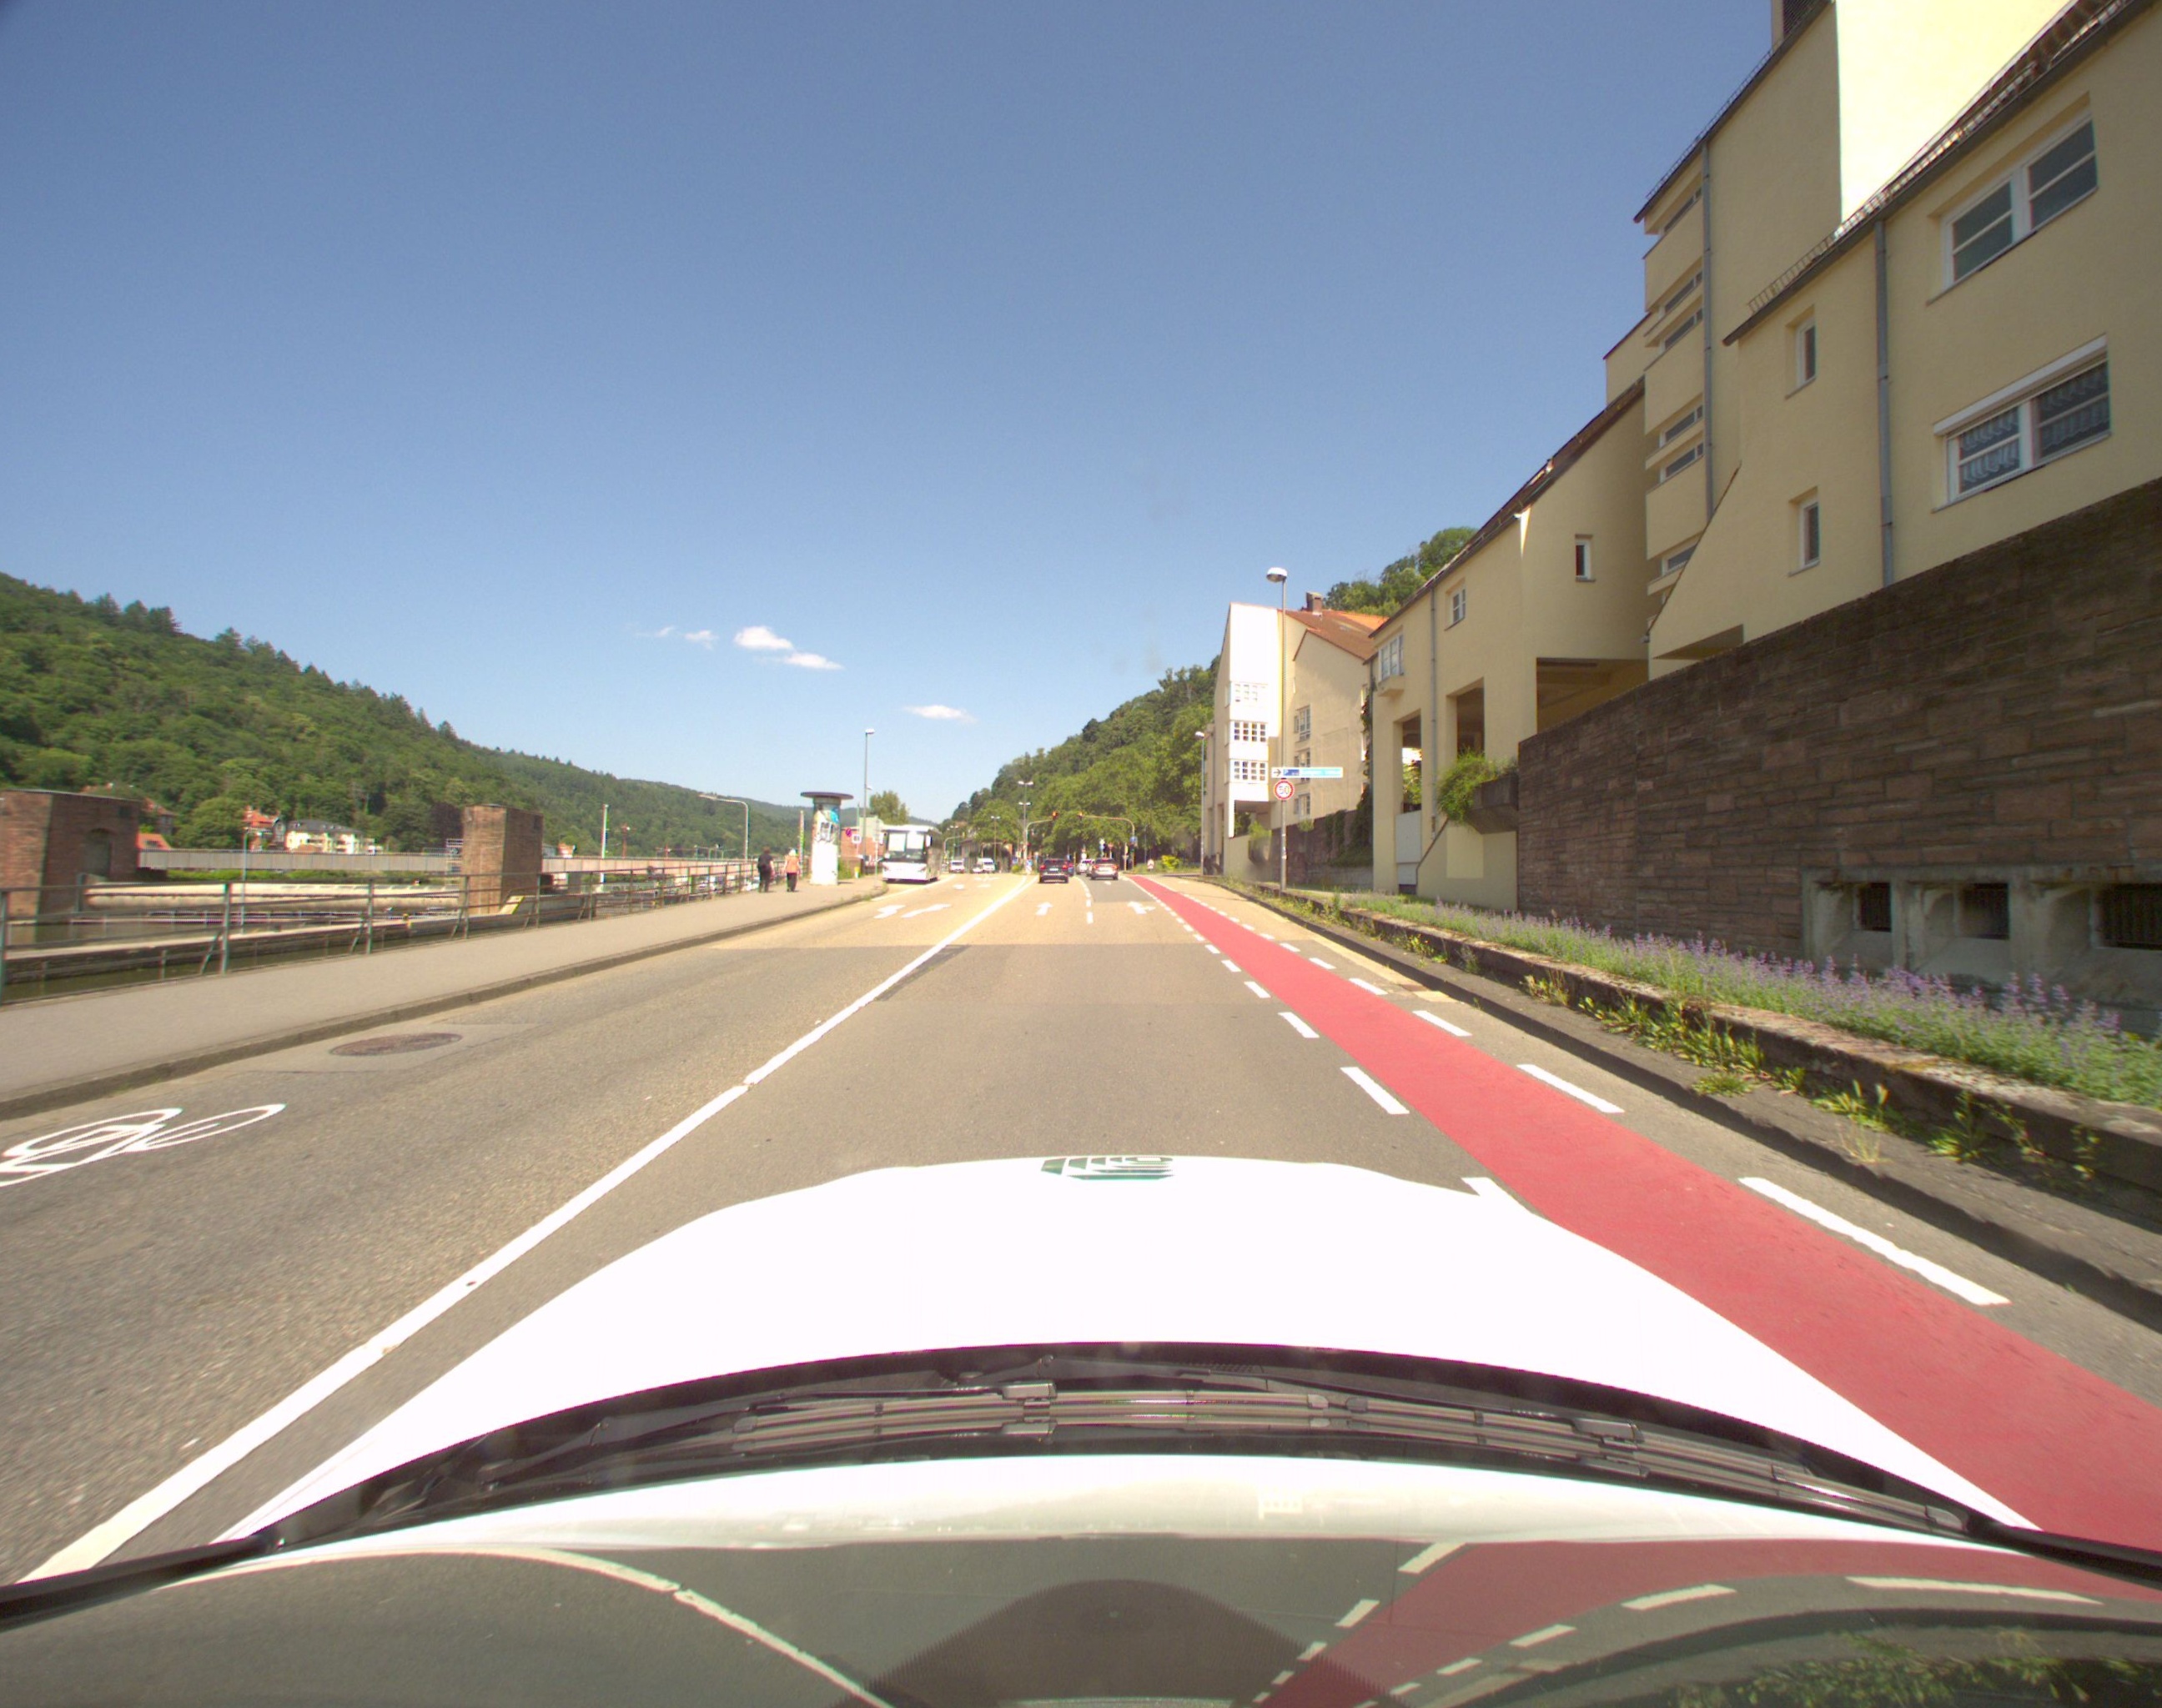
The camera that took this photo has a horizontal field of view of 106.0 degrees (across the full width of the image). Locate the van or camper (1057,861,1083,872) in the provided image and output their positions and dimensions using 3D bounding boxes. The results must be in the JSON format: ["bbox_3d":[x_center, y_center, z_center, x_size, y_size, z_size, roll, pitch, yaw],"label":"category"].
[{"bbox_3d":[-2.128,2.412,155.736,4.508,1.902,2.008,-1,-1,15],"label":"van or camper"}]

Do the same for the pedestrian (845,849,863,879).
[{"bbox_3d":[-13.806,0.592,49.475,0.891,1.796,1.038,0,-1,-7],"label":"pedestrian"}]

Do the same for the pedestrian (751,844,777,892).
[{"bbox_3d":[-11.428,0.521,29.385,0.682,1.709,0.771,0,-1,-7],"label":"pedestrian"}]

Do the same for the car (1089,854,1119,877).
[{"bbox_3d":[1.567,0.817,56.748,1.882,1.521,4.304,1,-1,0],"label":"car"}]

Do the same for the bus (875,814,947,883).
[{"bbox_3d":[-10.924,-0.282,53.721,2.952,3.801,13.217,4,-1,-5],"label":"bus"}]

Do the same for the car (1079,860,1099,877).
[{"bbox_3d":[0.725,1.413,79.153,1.781,1.532,4.733,-1,-1,-2],"label":"car"}]

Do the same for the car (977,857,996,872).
[{"bbox_3d":[-16.492,1.810,141.872,2.387,2.576,6.026,-1,-1,-14],"label":"car"}]

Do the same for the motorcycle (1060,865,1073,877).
[{"bbox_3d":[-1.175,1.318,65.128,1.035,0.919,2.603,-1,0,-1],"label":"motorcycle"}]

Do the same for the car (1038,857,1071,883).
[{"bbox_3d":[-1.594,0.961,50.474,1.863,1.514,4.149,1,-1,0],"label":"car"}]

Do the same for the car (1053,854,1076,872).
[{"bbox_3d":[-1.486,0.771,71.507,1.862,1.562,3.995,-1,0,-3],"label":"car"}]

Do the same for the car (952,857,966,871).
[{"bbox_3d":[-19.974,1.615,133.162,2.213,2.078,5.028,1,0,-9],"label":"car"}]

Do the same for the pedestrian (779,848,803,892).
[{"bbox_3d":[-10.913,0.610,30.696,0.702,1.621,0.814,0,-1,-9],"label":"pedestrian"}]

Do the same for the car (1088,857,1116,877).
[{"bbox_3d":[1.639,1.030,64.816,1.988,1.534,4.856,1,-1,-1],"label":"car"}]

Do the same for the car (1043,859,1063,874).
[{"bbox_3d":[-2.746,1.217,79.134,1.862,1.359,3.995,-1,0,-3],"label":"car"}]

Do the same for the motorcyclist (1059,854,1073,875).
[{"bbox_3d":[-1.188,0.850,64.981,1.072,1.684,1.155,-1,0,-2],"label":"motorcyclist"}]

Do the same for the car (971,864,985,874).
[{"bbox_3d":[-16.875,2.474,133.461,1.990,1.432,4.160,-1,0,-5],"label":"car"}]
